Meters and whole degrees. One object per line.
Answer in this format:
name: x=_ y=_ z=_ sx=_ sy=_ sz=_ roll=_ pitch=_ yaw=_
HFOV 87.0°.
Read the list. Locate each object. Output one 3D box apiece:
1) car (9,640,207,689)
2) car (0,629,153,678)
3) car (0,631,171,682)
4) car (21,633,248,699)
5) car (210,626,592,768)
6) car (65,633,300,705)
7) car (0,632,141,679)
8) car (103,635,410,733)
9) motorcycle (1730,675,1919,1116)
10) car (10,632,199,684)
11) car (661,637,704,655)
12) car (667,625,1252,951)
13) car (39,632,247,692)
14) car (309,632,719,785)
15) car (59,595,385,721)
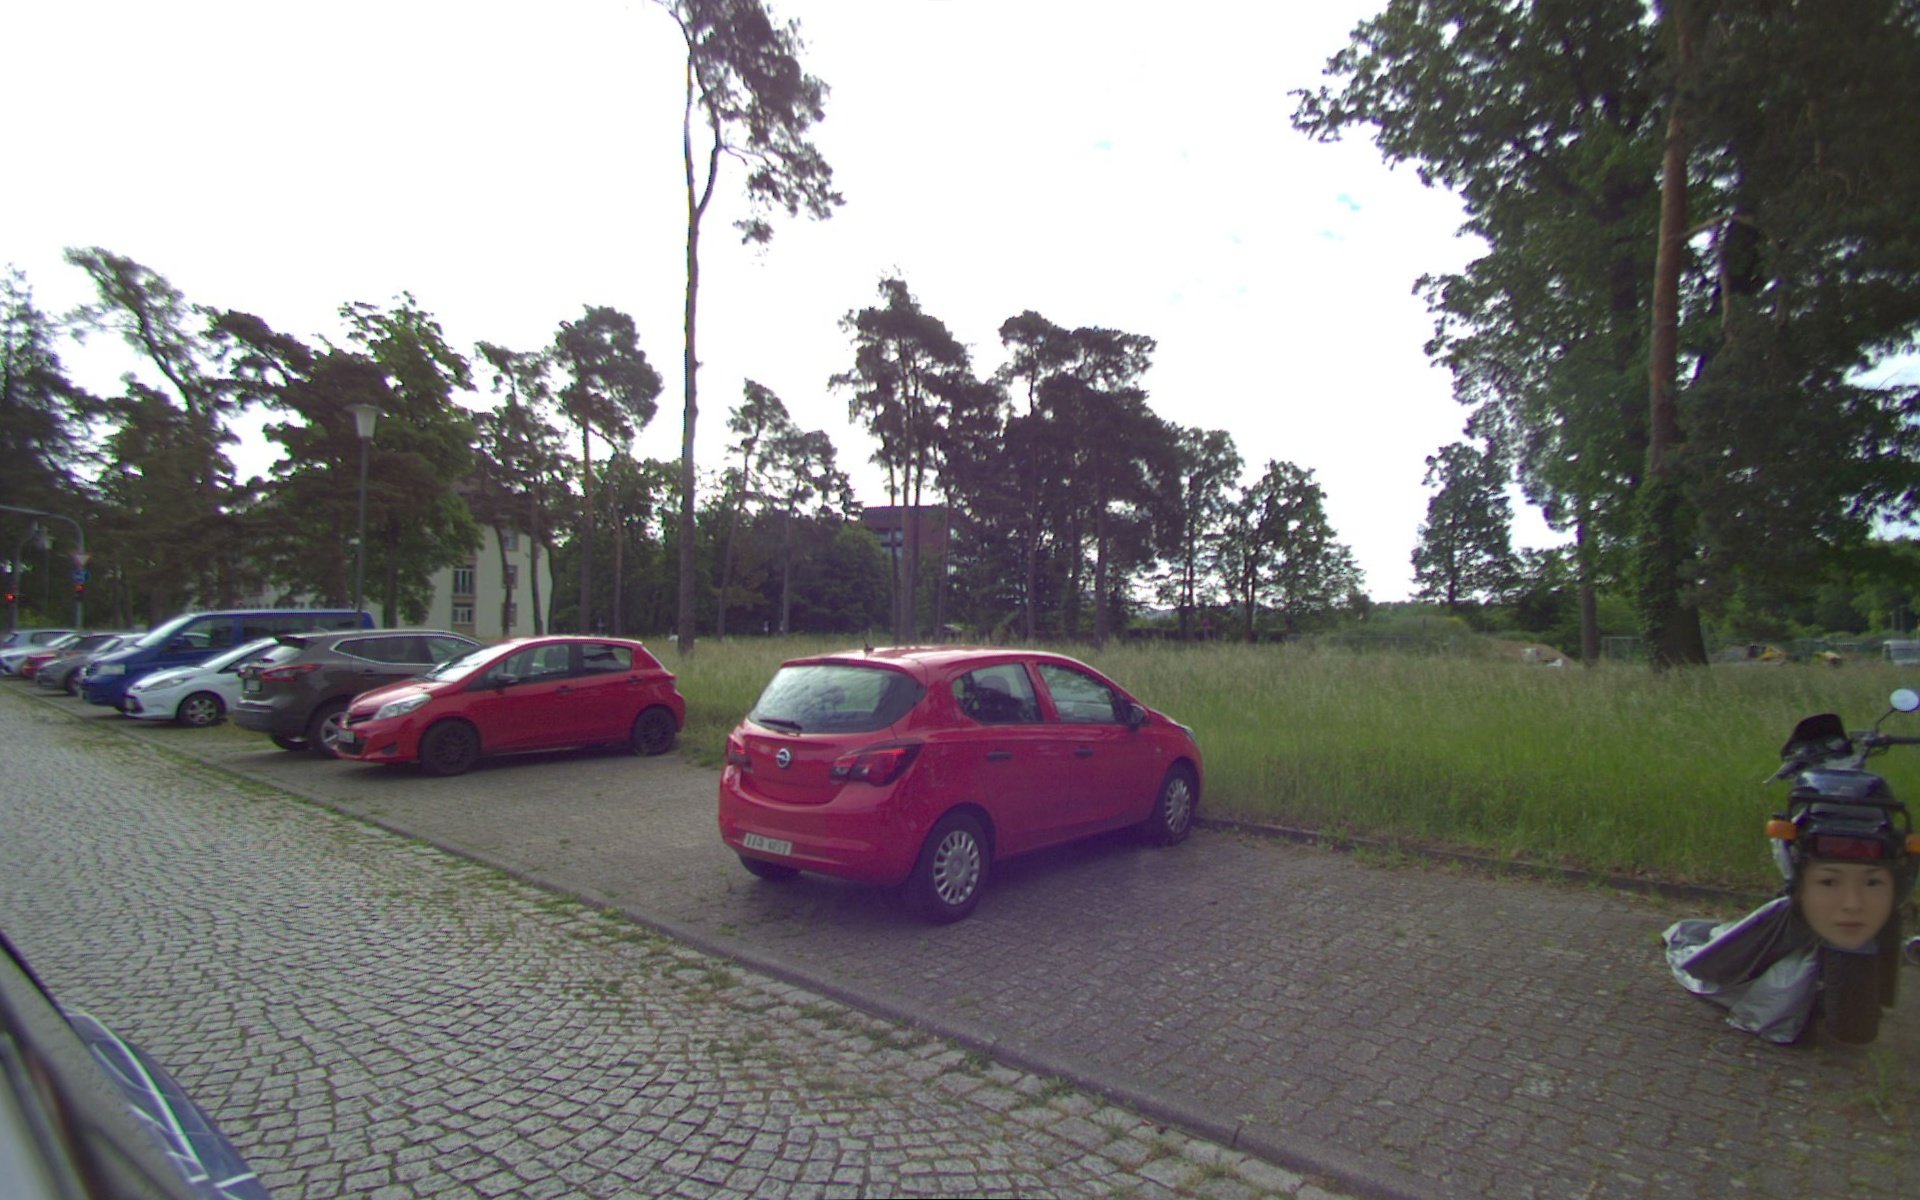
car: x=-24.282 y=1.816 z=28.950 sx=1.831 sy=1.276 sz=4.120 roll=-2 pitch=-3 yaw=43
car: x=-29.888 y=1.771 z=33.804 sx=1.933 sy=1.560 sz=4.209 roll=-2 pitch=-3 yaw=38
car: x=-27.861 y=1.763 z=31.953 sx=1.934 sy=1.519 sz=4.330 roll=-2 pitch=-3 yaw=39
car: x=-20.312 y=1.590 z=25.019 sx=1.865 sy=1.503 sz=4.120 roll=-2 pitch=-4 yaw=43
car: x=-7.469 y=1.216 z=13.872 sx=1.984 sy=1.635 sz=4.125 roll=-2 pitch=-3 yaw=39
car: x=-17.908 y=1.552 z=23.452 sx=1.845 sy=1.509 sz=4.023 roll=-2 pitch=-3 yaw=42
car: x=-31.726 y=1.941 z=35.805 sx=1.904 sy=1.555 sz=3.946 roll=-2 pitch=-3 yaw=40
car: x=-12.291 y=1.403 z=17.911 sx=1.780 sy=1.522 sz=4.124 roll=-2 pitch=-3 yaw=39
motorcycle: x=3.749 y=1.017 z=4.153 sx=0.718 sy=1.301 sz=2.250 roll=-2 pitch=-2 yaw=42
car: x=-25.885 y=1.735 z=30.723 sx=1.864 sy=1.488 sz=4.122 roll=-2 pitch=-3 yaw=41
car: x=-28.286 y=4.707 z=103.194 sx=1.723 sy=1.821 sz=3.942 roll=-2 pitch=-4 yaw=44
car: x=0.267 y=0.989 z=6.972 sx=1.903 sy=1.537 sz=4.013 roll=-2 pitch=-3 yaw=40
car: x=-22.071 y=1.657 z=27.449 sx=1.845 sy=1.493 sz=4.121 roll=-2 pitch=-3 yaw=42
car: x=-5.214 y=1.184 z=12.287 sx=1.906 sy=1.522 sz=4.123 roll=-2 pitch=-3 yaw=40
car: x=-14.177 y=1.107 z=19.698 sx=2.114 sy=2.138 sz=4.732 roll=-2 pitch=-3 yaw=41
